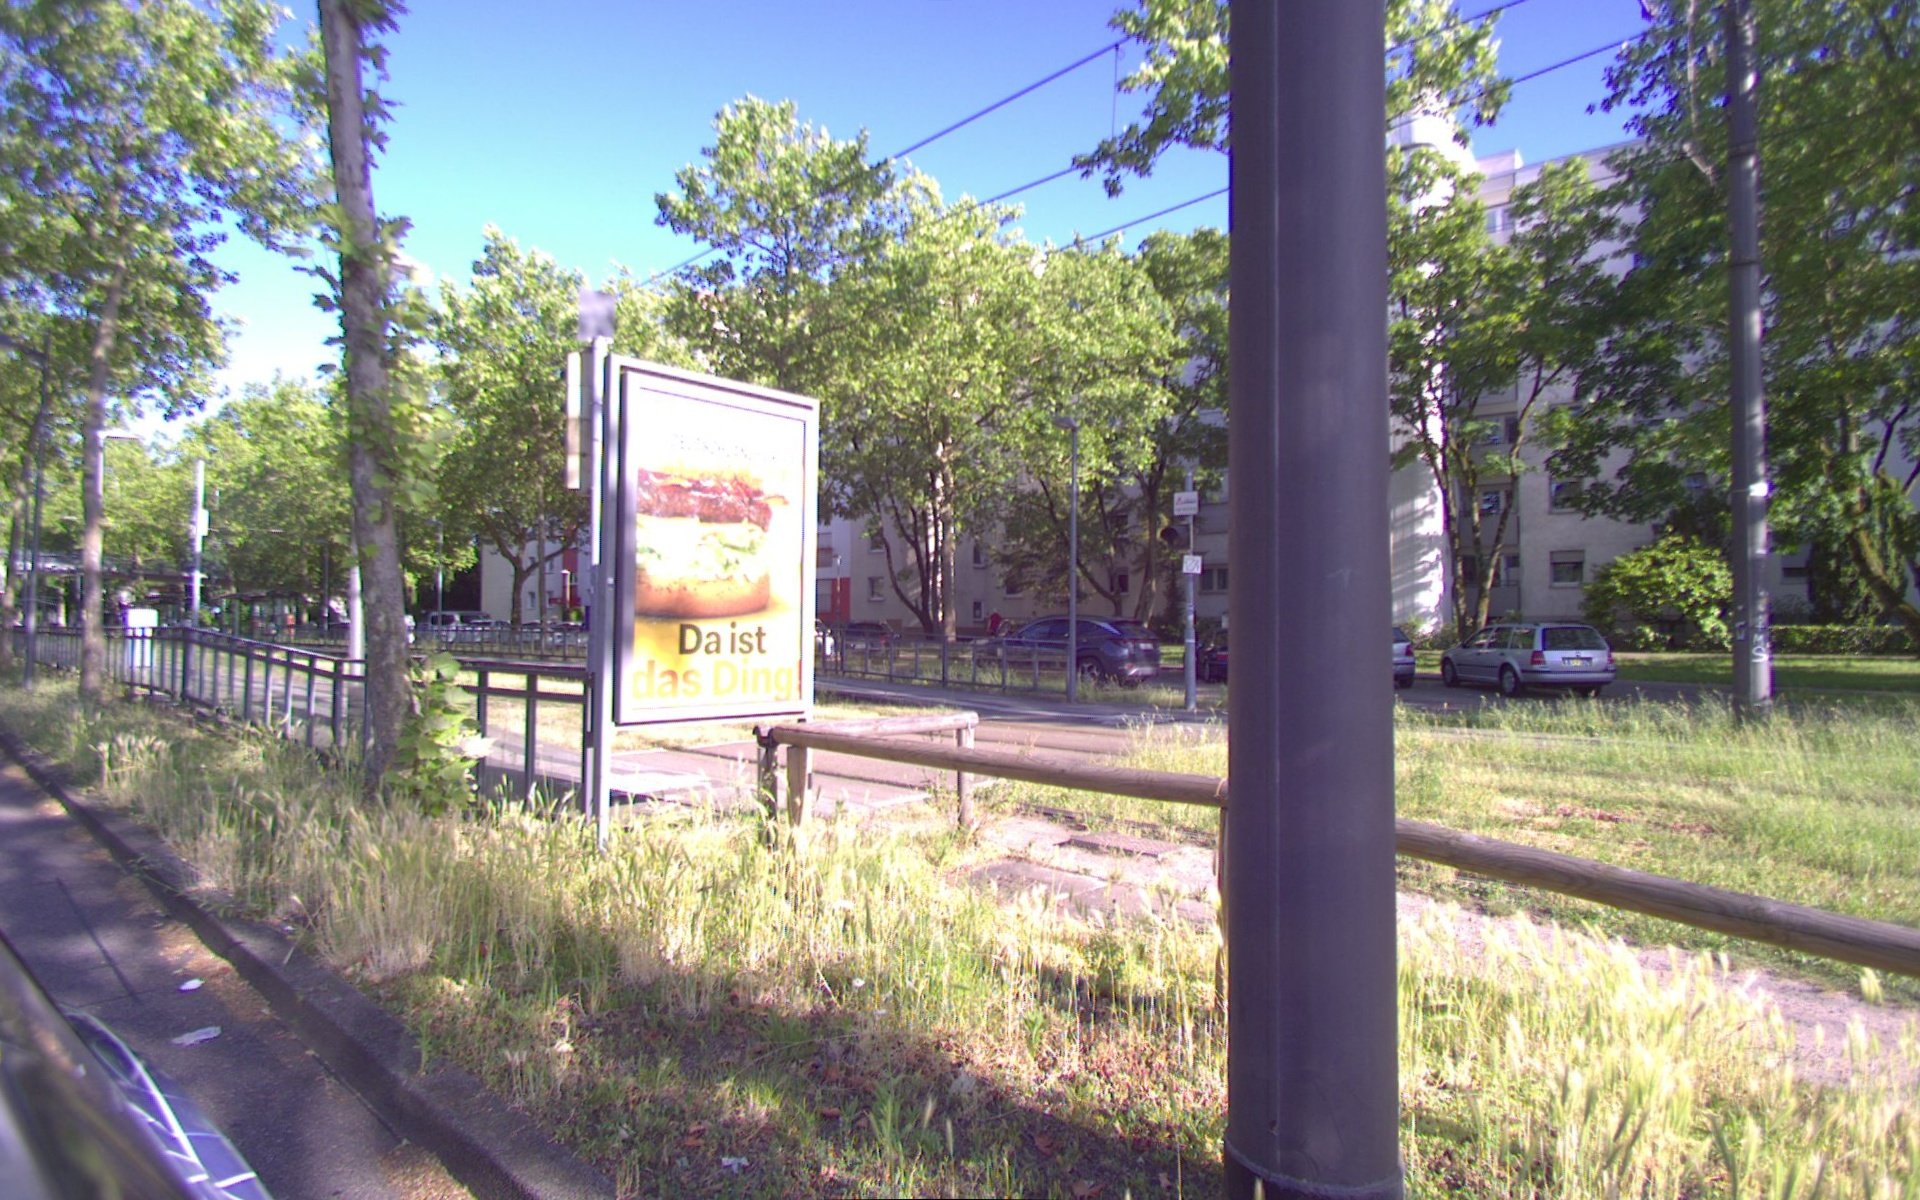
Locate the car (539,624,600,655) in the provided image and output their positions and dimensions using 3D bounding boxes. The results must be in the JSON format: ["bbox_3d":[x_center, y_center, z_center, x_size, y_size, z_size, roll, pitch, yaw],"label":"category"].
[{"bbox_3d":[-19.034,1.902,49.534,1.633,1.452,3.805,-1,-1,-2],"label":"car"}]

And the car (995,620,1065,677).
[{"bbox_3d":[1.994,1.359,29.660,1.633,1.522,3.805,-1,-1,-2],"label":"car"}]

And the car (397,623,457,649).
[{"bbox_3d":[-31.320,2.087,59.594,1.633,1.452,3.805,-1,-1,-2],"label":"car"}]

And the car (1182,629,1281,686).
[{"bbox_3d":[6.685,1.382,25.270,1.445,1.234,3.815,-1,-1,0],"label":"car"}]

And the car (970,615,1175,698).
[{"bbox_3d":[2.370,1.167,22.104,4.293,1.631,1.634,-2,-1,42],"label":"car"}]

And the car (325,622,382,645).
[{"bbox_3d":[-40.826,2.231,68.187,1.633,1.452,3.805,-1,-1,-2],"label":"car"}]

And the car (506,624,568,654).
[{"bbox_3d":[-21.326,1.944,51.178,1.633,1.452,3.805,-1,-1,-2],"label":"car"}]

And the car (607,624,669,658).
[{"bbox_3d":[-14.052,1.770,44.331,1.633,1.366,3.805,-1,-1,-2],"label":"car"}]

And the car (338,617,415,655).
[{"bbox_3d":[-29.683,1.800,51.415,4.898,1.835,1.809,-1,-1,40],"label":"car"}]

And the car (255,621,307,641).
[{"bbox_3d":[-53.038,2.406,79.149,1.633,1.452,3.805,-1,-1,-2],"label":"car"}]

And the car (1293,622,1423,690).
[{"bbox_3d":[9.153,1.243,23.584,1.559,1.413,3.638,-1,-1,0],"label":"car"}]

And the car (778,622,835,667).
[{"bbox_3d":[-5.555,1.573,37.012,1.633,1.522,3.805,-1,-1,-2],"label":"car"}]

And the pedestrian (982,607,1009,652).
[{"bbox_3d":[1.433,1.179,40.650,0.786,1.745,0.755,-1,0,39],"label":"pedestrian"}]

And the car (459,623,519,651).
[{"bbox_3d":[-25.859,2.004,55.655,1.633,1.452,3.805,-1,-1,-2],"label":"car"}]

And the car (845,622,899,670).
[{"bbox_3d":[-2.965,1.531,34.643,1.633,1.522,3.805,-1,-1,-2],"label":"car"}]

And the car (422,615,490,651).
[{"bbox_3d":[-28.441,1.829,57.249,1.814,1.888,4.323,-1,-1,-2],"label":"car"}]

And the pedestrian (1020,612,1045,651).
[{"bbox_3d":[3.079,1.325,43.029,0.786,1.635,0.755,-1,0,39],"label":"pedestrian"}]

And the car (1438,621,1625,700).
[{"bbox_3d":[11.484,1.165,20.658,1.559,1.413,3.906,-1,-1,0],"label":"car"}]

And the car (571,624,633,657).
[{"bbox_3d":[-16.615,1.859,47.153,1.633,1.452,3.805,-1,-1,-2],"label":"car"}]

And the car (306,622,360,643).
[{"bbox_3d":[-44.967,2.292,72.676,1.633,1.452,3.805,-1,-1,-2],"label":"car"}]
